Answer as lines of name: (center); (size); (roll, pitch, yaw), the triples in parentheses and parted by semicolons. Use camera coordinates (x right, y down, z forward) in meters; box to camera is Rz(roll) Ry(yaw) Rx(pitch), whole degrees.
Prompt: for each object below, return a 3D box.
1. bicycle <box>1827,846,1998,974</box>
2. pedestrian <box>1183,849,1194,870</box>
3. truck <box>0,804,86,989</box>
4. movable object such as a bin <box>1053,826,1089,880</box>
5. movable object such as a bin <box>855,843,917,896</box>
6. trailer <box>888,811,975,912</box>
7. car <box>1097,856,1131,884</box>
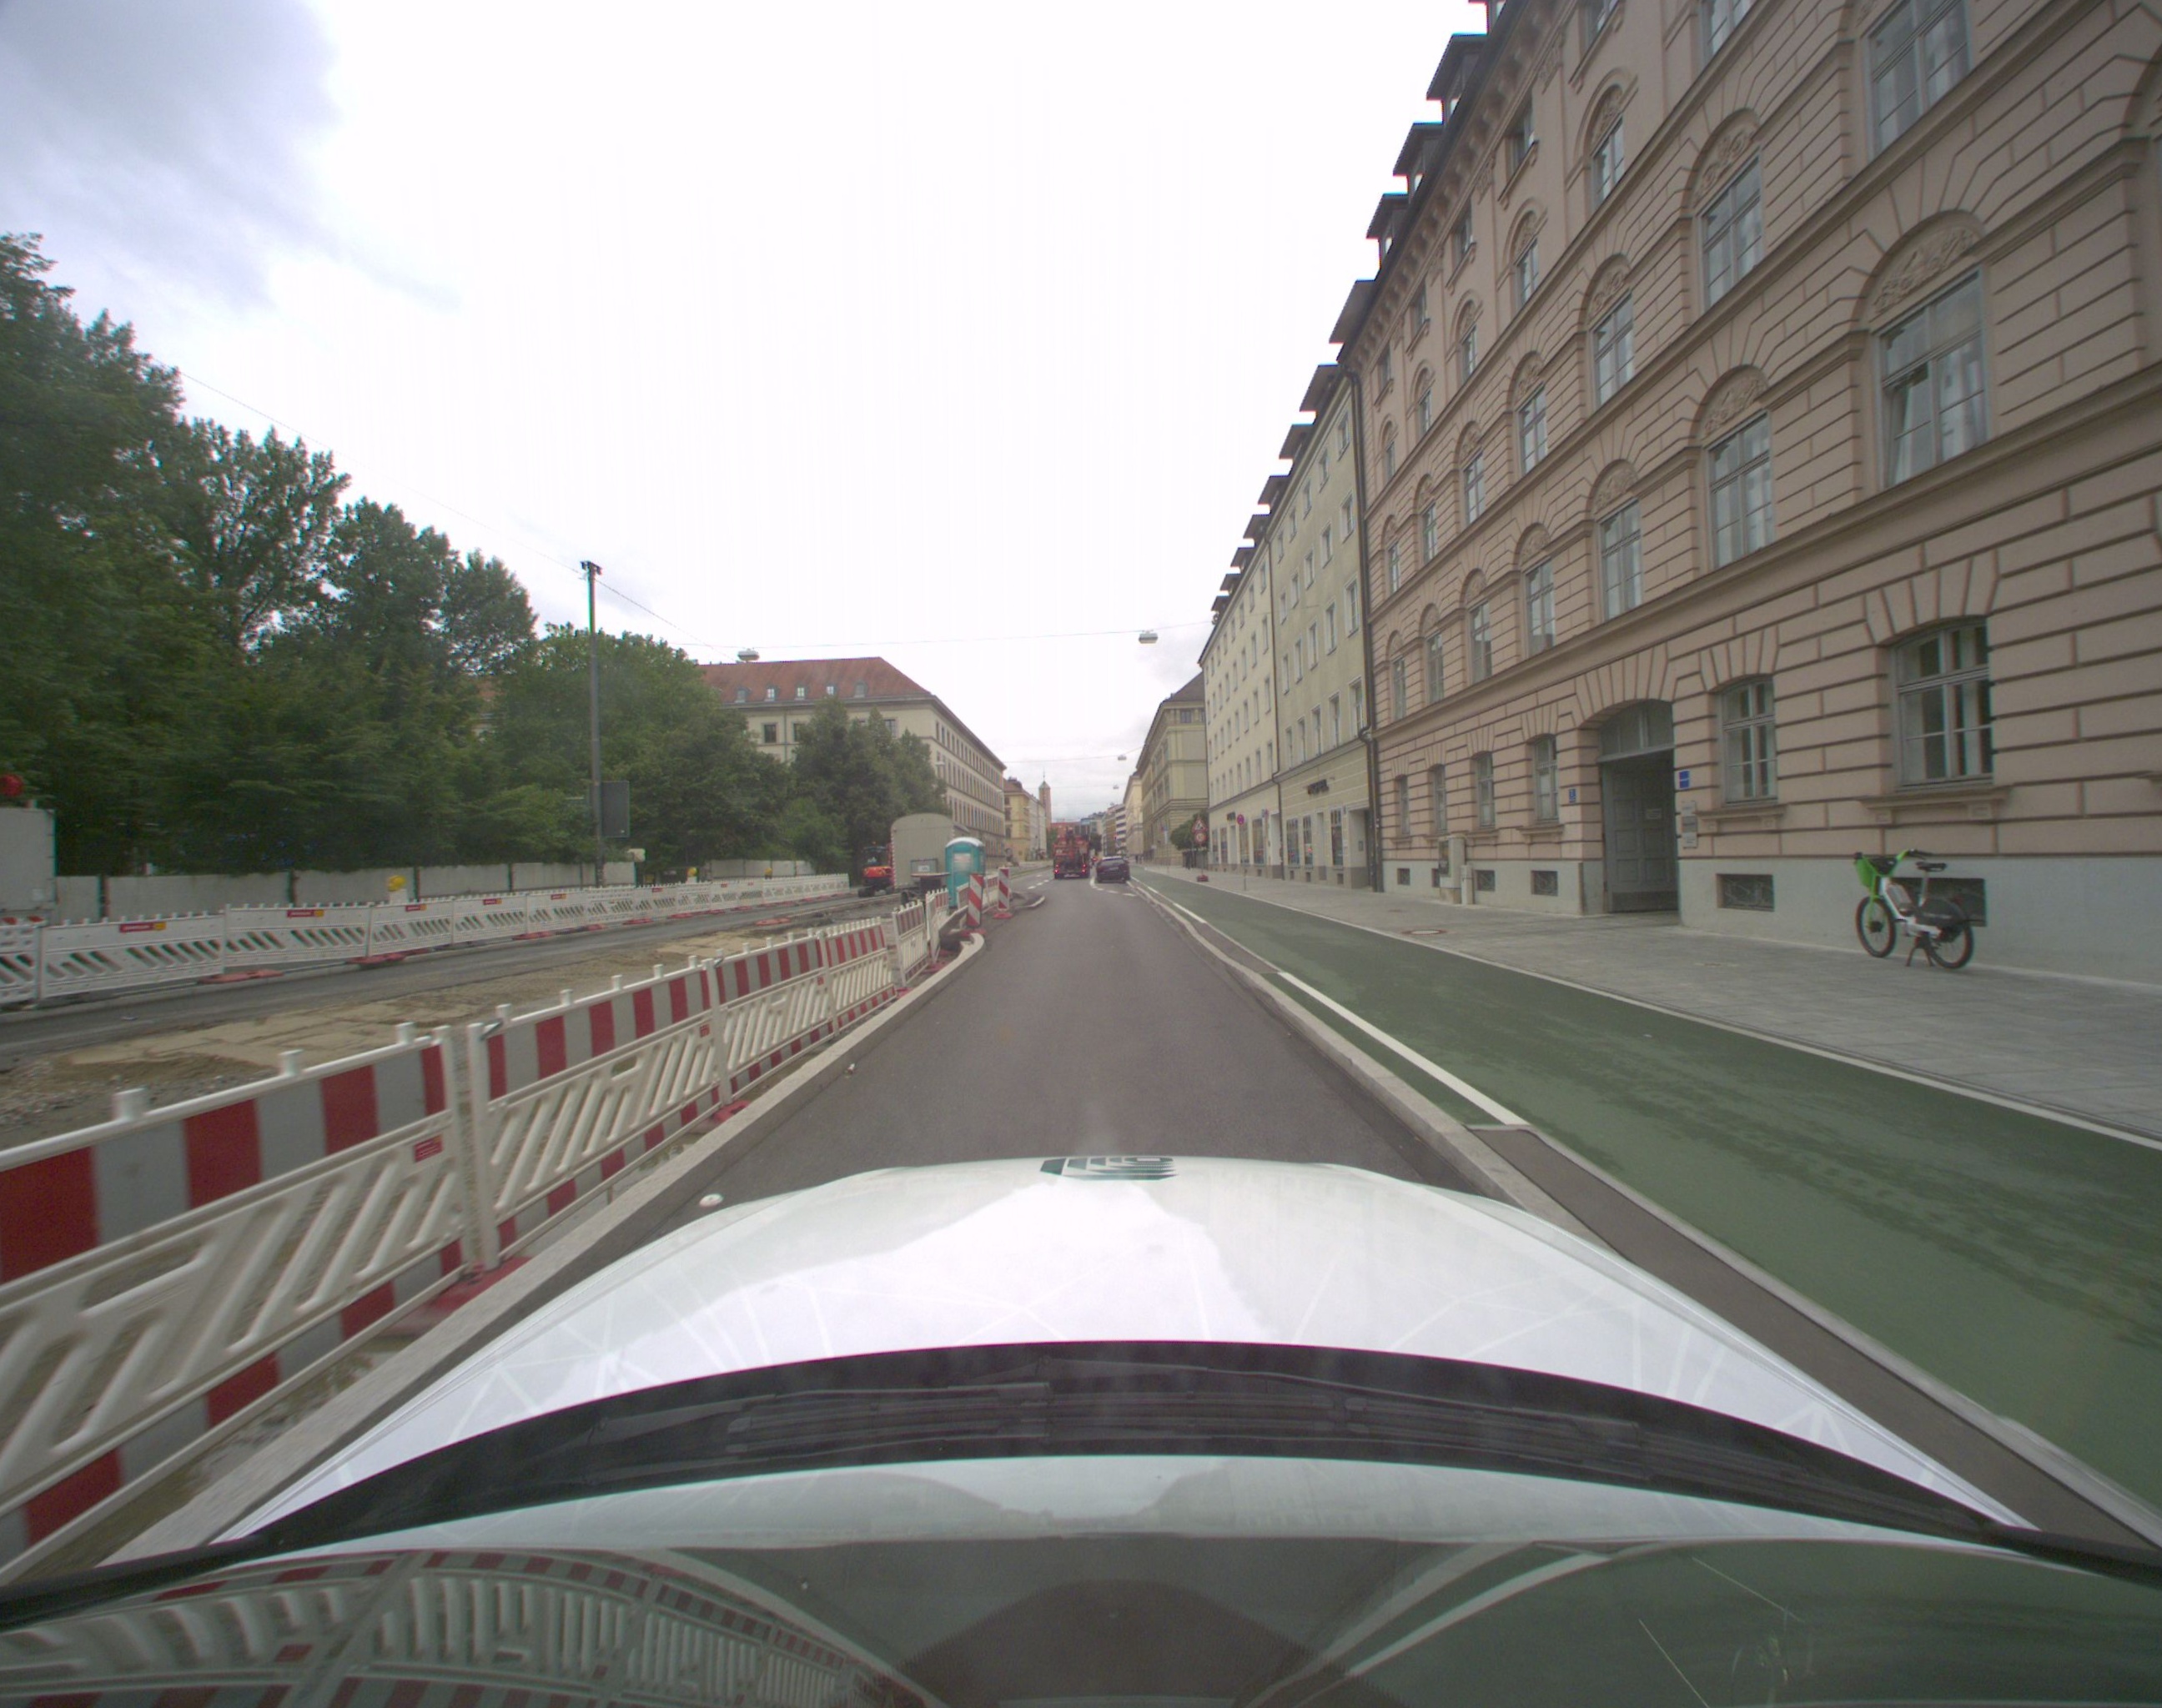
bicycle: (8.434, 0.518, 8.351); (0.422, 1.174, 1.739); (-3, -1, 18)
pedestrian: (9.641, 0.493, 72.932); (0.787, 1.836, 0.777); (-2, 0, 2)
truck: (-17.083, 0.654, 10.139); (1.986, 2.728, 5.873); (-2, 0, 2)
movable object such as a bin: (-0.680, -0.055, 58.981); (2.415, 3.611, 5.850); (-2, -1, 0)
movable object such as a bin: (-10.081, 0.773, 42.390); (1.916, 2.572, 4.495); (-1, 0, 2)
trailer: (-5.434, 0.277, 30.678); (2.222, 3.243, 7.509); (-2, 0, -3)
car: (1.902, 0.880, 47.829); (1.796, 1.480, 4.686); (-3, 0, 0)
